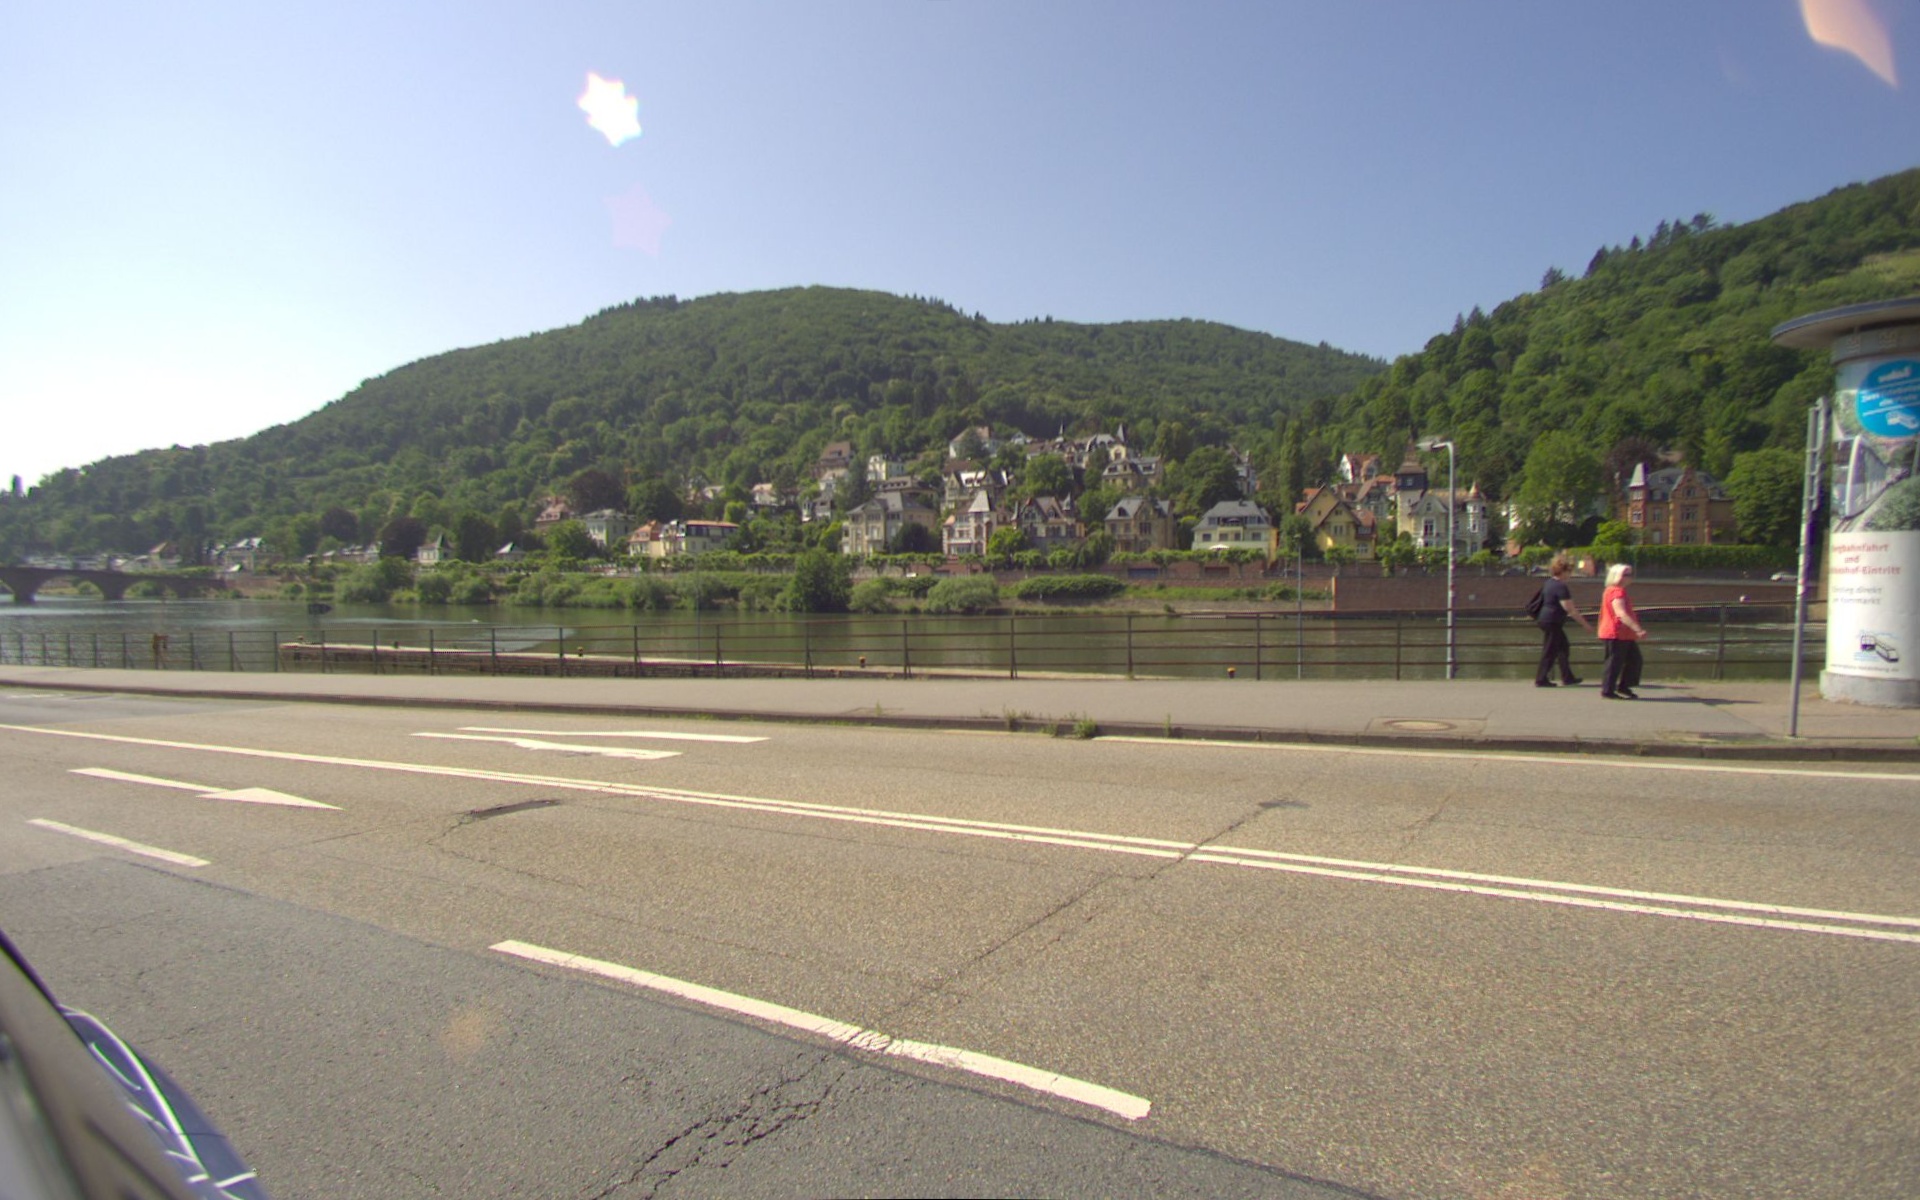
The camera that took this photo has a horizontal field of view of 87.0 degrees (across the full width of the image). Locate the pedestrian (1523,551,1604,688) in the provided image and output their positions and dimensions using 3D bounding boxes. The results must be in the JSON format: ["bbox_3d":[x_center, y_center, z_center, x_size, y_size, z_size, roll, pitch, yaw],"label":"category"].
[{"bbox_3d":[7.842,0.246,13.178,0.768,1.722,0.680,-1,0,22],"label":"pedestrian"}]

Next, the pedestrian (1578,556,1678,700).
[{"bbox_3d":[7.855,0.323,11.931,0.811,1.633,0.700,-1,0,20],"label":"pedestrian"}]
